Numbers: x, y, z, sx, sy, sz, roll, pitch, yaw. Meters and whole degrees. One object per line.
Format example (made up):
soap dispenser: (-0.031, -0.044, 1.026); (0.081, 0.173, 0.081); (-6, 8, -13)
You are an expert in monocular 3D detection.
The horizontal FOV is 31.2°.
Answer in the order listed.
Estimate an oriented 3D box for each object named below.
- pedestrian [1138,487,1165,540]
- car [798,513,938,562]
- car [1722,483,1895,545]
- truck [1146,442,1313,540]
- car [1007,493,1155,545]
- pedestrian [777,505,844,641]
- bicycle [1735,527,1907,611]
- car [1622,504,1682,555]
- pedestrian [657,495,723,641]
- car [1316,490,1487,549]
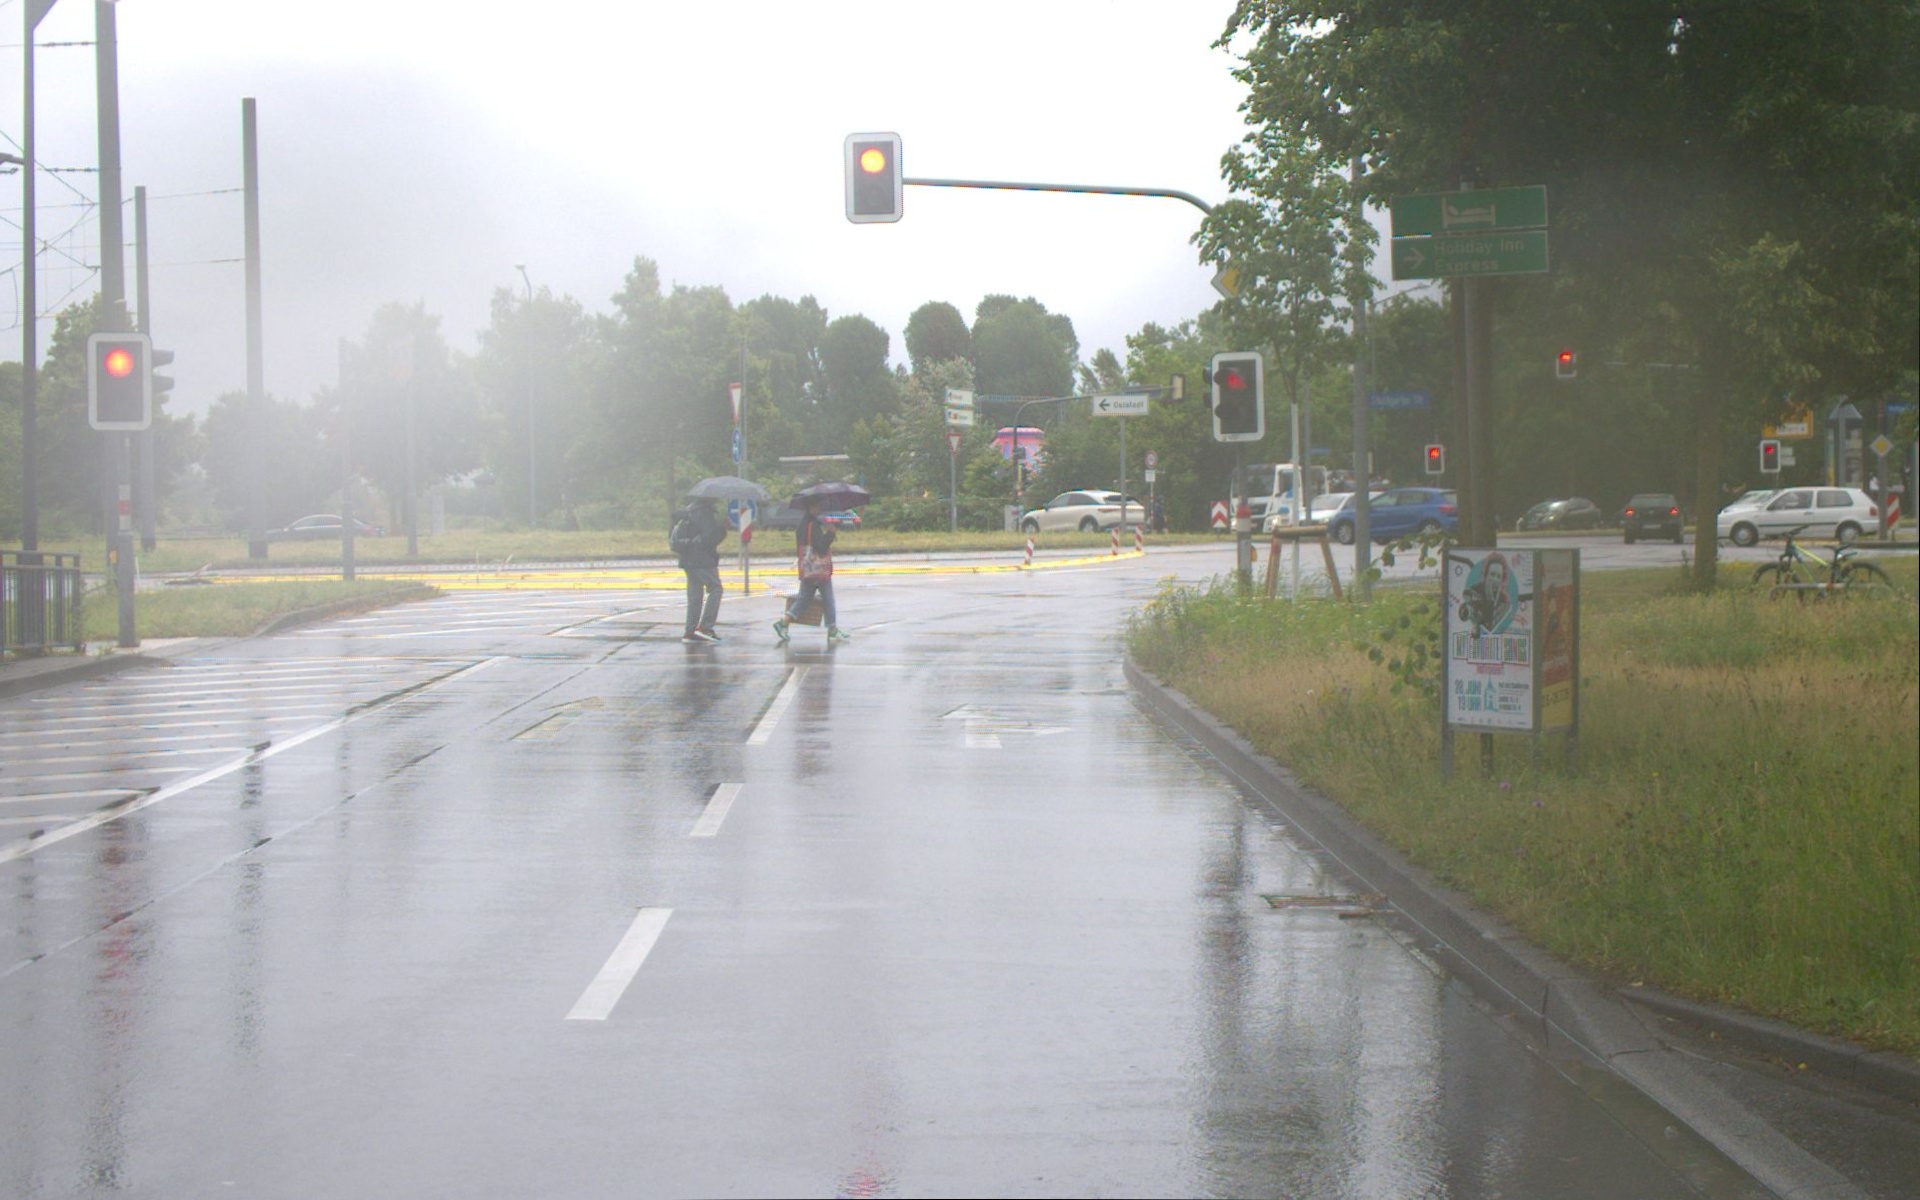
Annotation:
pedestrian: (4.680, -2.114, 84.054); (0.453, 1.300, 0.485); (1, 2, 39)
car: (-2.804, -1.911, 105.029); (3.980, 1.449, 1.621); (1, 2, 28)
car: (20.437, -2.074, 82.776); (3.977, 1.449, 1.622); (0, 2, 17)
truck: (8.176, -3.237, 103.447); (2.464, 2.677, 8.049); (2, 1, 23)
car: (3.409, -2.296, 97.315); (4.110, 1.449, 1.619); (1, 2, 42)
pedestrian: (-1.637, -0.296, 37.581); (0.680, 1.456, 0.573); (-2, 1, -4)
bicycle: (8.495, -0.312, 33.975); (0.379, 0.784, 1.859); (1, 1, -33)
car: (20.229, -2.074, 100.436); (1.619, 1.449, 3.986); (0, 2, 13)
pedestrian: (-2.857, -0.350, 36.440); (0.621, 1.517, 0.741); (1, 2, -1)
car: (11.073, -2.021, 86.406); (3.983, 1.449, 1.620); (1, 2, 37)
